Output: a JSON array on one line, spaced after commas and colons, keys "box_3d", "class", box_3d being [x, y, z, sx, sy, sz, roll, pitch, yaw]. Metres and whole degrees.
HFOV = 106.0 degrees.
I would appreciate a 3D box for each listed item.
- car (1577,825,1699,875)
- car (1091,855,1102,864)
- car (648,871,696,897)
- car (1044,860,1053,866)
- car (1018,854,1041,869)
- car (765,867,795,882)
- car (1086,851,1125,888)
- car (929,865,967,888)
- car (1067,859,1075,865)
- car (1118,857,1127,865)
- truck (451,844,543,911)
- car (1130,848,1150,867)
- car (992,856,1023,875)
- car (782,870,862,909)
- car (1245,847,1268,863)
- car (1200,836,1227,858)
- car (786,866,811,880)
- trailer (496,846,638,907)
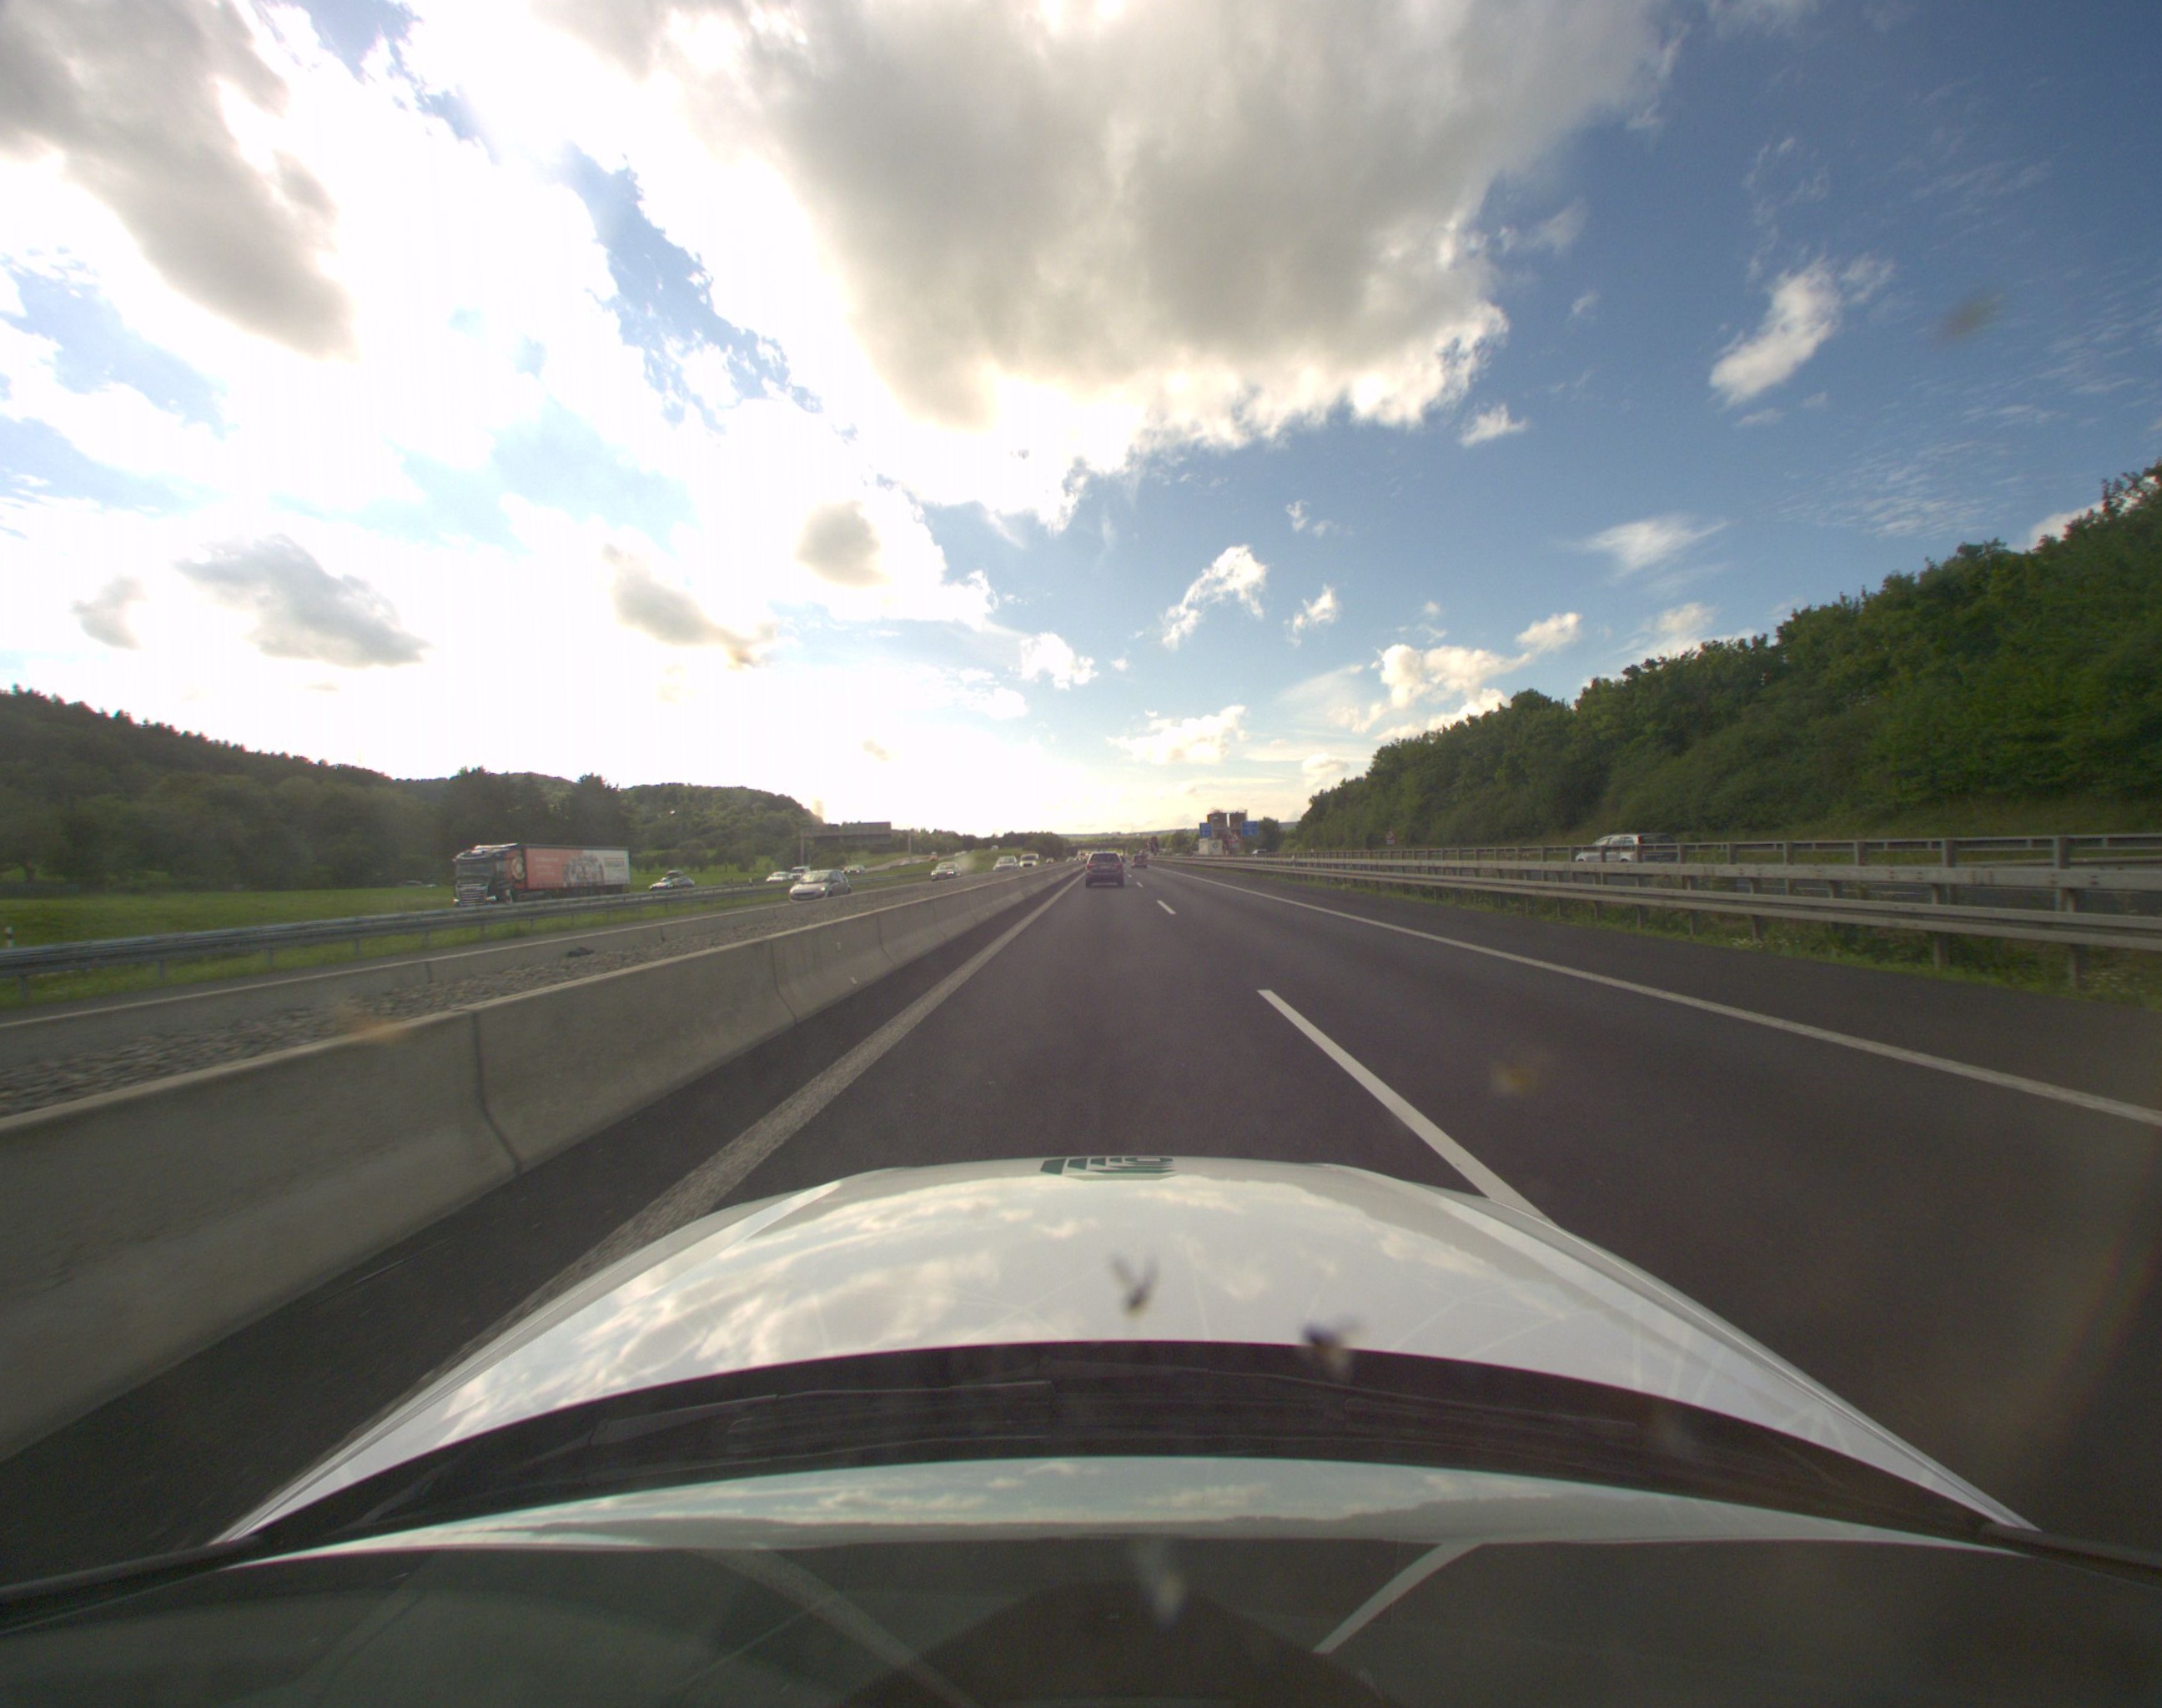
[{"box_3d": [21.281, -0.137, 31.346, 1.986, 1.708, 4.002, -3, 0, 2], "class": "car"}, {"box_3d": [3.433, 1.222, 179.775, 2.160, 1.843, 4.003, -3, 0, 3], "class": "car"}, {"box_3d": [-32.757, 2.370, 65.341, 1.769, 1.897, 4.392, -3, 0, -4], "class": "car"}, {"box_3d": [-7.572, 2.059, 190.283, 1.721, 1.398, 4.159, -3, 0, 2], "class": "car"}, {"box_3d": [-5.720, 0.856, 91.264, 1.986, 1.532, 5.749, -3, 0, 1], "class": "car"}, {"box_3d": [-30.602, 2.061, 82.833, 1.770, 1.400, 4.389, -3, 0, -6], "class": "car"}, {"box_3d": [1.257, 0.722, 40.073, 1.742, 1.630, 3.612, -3, 0, 3], "class": "car"}, {"box_3d": [-10.303, 1.736, 63.418, 1.986, 1.532, 4.508, -3, 0, 1], "class": "car"}, {"box_3d": [-2.421, 1.968, 196.709, 1.636, 1.398, 3.743, -3, 0, 2], "class": "car"}, {"box_3d": [10.502, 1.761, 206.913, 1.967, 1.779, 4.121, -3, 0, 1], "class": "car"}, {"box_3d": [-35.781, 1.396, 50.104, 1.989, 3.761, 5.144, -3, -1, -3], "class": "truck"}, {"box_3d": [6.816, 0.418, 94.303, 1.986, 2.081, 4.002, -3, 0, 2], "class": "car"}, {"box_3d": [-6.321, 0.982, 70.533, 1.986, 1.532, 5.022, -3, 0, 1], "class": "car"}, {"box_3d": [-11.187, 1.498, 35.507, 1.986, 1.456, 4.182, -3, 0, 2], "class": "car"}, {"box_3d": [21.396, 0.120, 99.242, 1.986, 1.717, 4.002, -3, 0, 2], "class": "car"}, {"box_3d": [23.798, -1.252, 146.733, 3.563, 3.676, 7.552, -3, 0, 2], "class": "car"}, {"box_3d": [-36.120, 2.436, 104.292, 1.769, 1.548, 4.883, -3, 0, -4], "class": "car"}, {"box_3d": [-36.103, 1.466, 58.105, 1.989, 3.737, 13.232, -3, 0, -2], "class": "trailer"}]
